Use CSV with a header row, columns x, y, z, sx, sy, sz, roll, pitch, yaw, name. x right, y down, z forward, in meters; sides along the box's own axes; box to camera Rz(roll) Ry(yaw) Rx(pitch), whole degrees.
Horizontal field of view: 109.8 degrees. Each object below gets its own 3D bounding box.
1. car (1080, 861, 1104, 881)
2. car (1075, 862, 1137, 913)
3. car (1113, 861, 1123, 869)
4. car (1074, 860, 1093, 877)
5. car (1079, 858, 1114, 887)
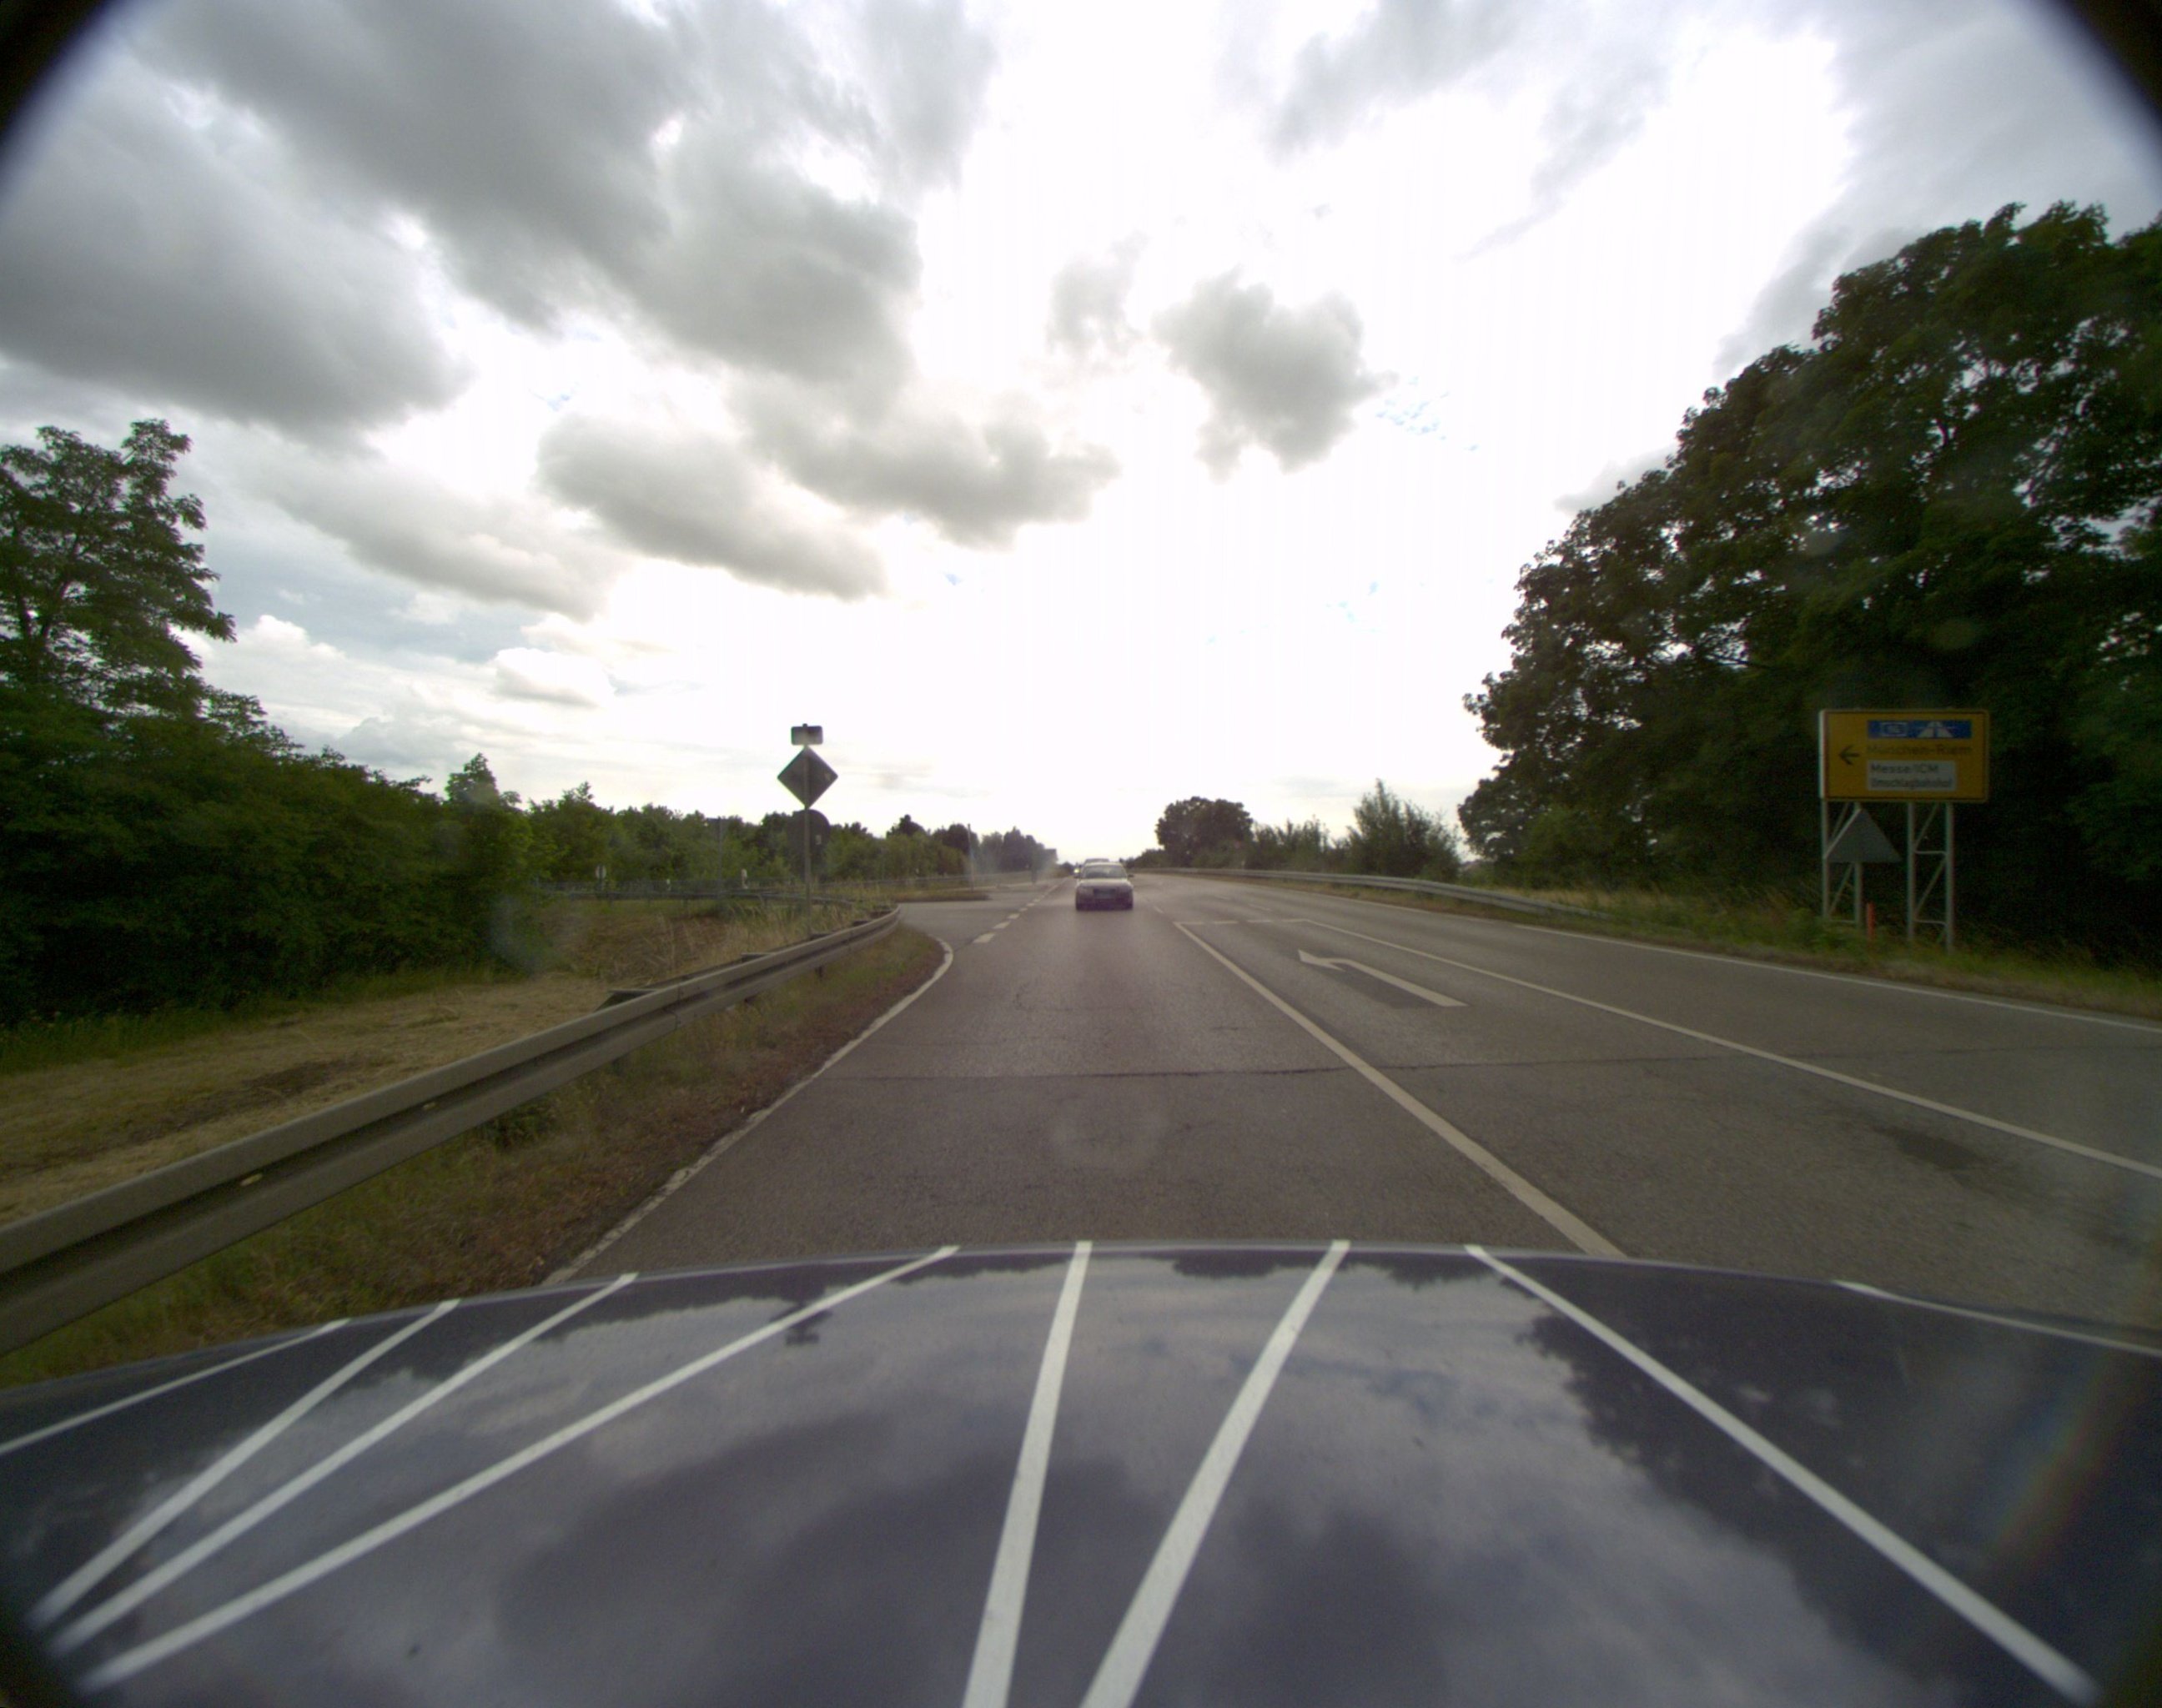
x,y,z,sx,sy,sz,roll,pitch,yaw,name
0.877,1.337,60.436,1.835,1.537,4.035,-1,-1,0,car
0.740,1.007,24.275,1.784,1.441,4.035,-1,-1,0,car
6.781,2.039,139.834,1.715,1.514,4.000,-1,0,0,car
0.235,1.414,75.277,1.835,1.537,4.035,-1,-1,0,car
0.851,1.032,42.900,1.835,1.537,4.035,-1,-1,0,car
